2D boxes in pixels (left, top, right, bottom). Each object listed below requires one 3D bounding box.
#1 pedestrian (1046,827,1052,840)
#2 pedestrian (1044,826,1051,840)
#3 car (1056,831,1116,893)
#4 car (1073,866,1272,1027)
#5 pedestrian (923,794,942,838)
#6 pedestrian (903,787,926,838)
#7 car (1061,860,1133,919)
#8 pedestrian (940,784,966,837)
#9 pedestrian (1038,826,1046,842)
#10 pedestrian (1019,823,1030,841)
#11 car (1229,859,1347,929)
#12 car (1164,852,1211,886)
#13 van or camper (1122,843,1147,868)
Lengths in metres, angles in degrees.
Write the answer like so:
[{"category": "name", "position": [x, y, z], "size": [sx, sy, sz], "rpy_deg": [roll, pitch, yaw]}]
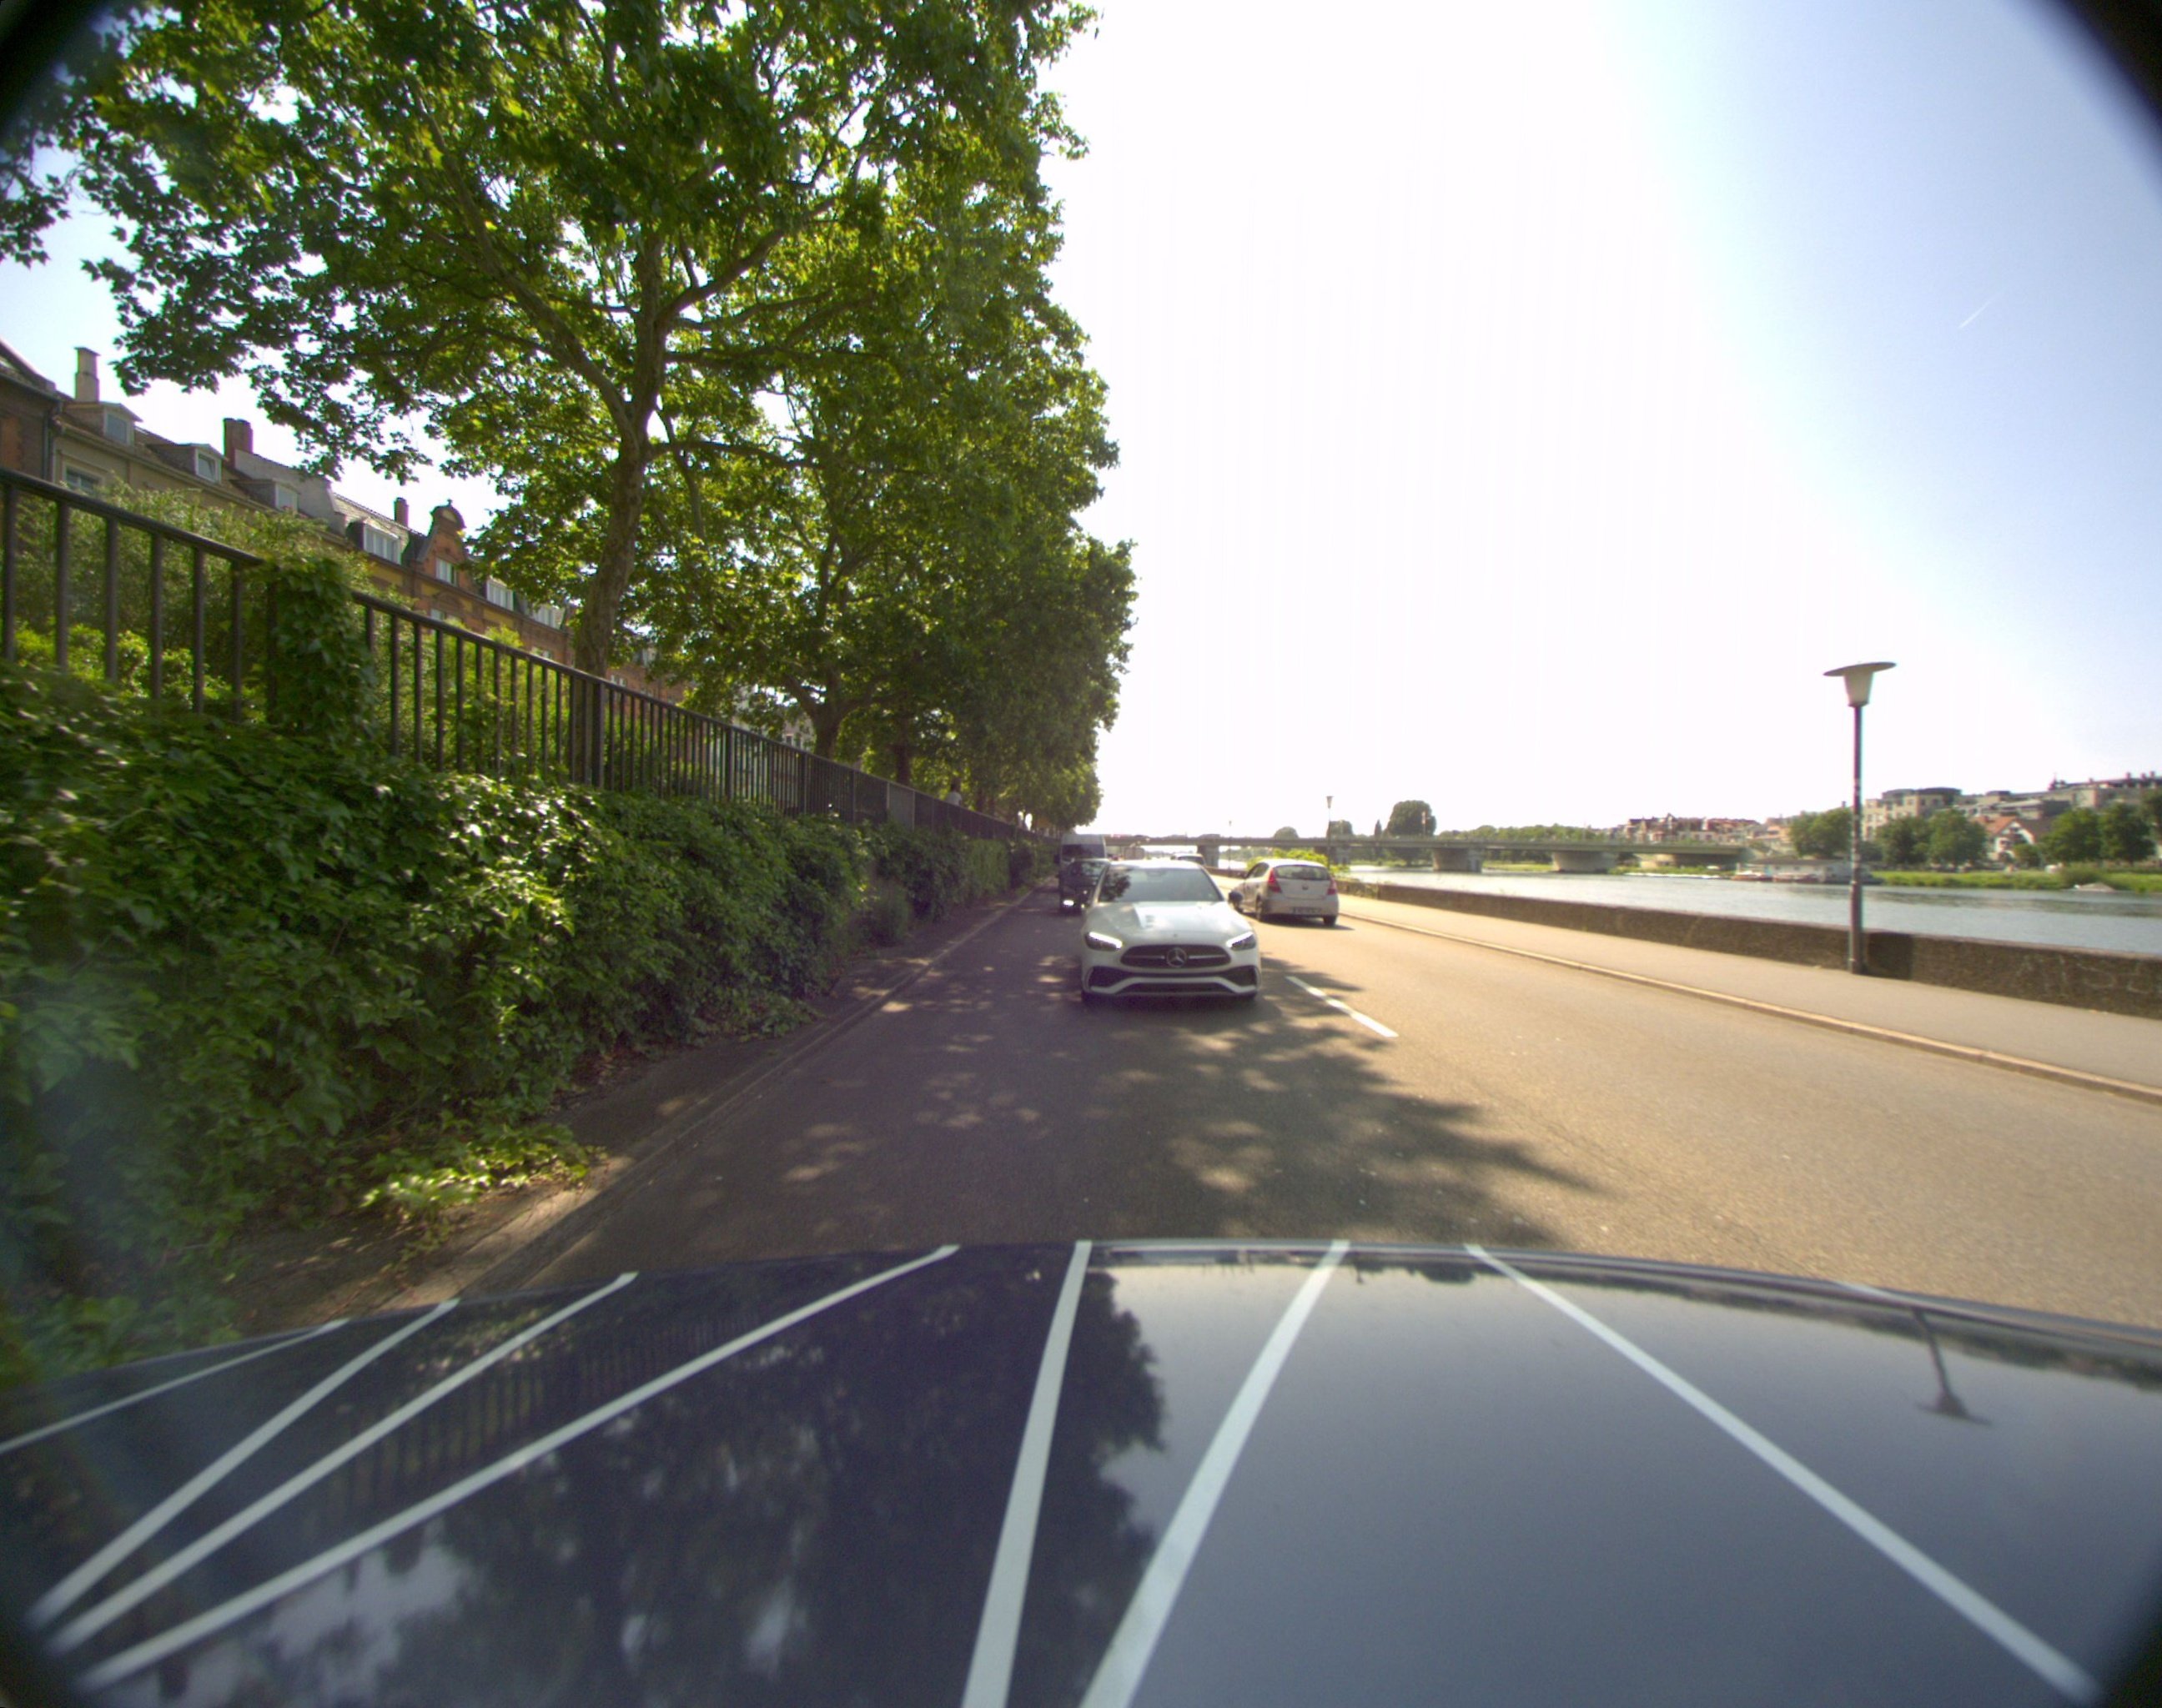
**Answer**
[{"category": "pedestrian", "position": [-3.745, -2.374, 88.082], "size": [0.666, 1.582, 0.764], "rpy_deg": [1, 1, 0]}, {"category": "pedestrian", "position": [-3.838, -2.380, 87.257], "size": [0.738, 1.582, 0.810], "rpy_deg": [1, 1, 0]}, {"category": "car", "position": [0.189, 0.301, 33.384], "size": [2.351, 2.429, 6.208], "rpy_deg": [1, 0, 0]}, {"category": "car", "position": [0.872, 0.892, 9.317], "size": [1.830, 1.411, 4.552], "rpy_deg": [0, 0, 1]}, {"category": "pedestrian", "position": [-4.889, -1.237, 25.048], "size": [0.586, 1.411, 0.589], "rpy_deg": [1, 1, -8]}, {"category": "pedestrian", "position": [-5.495, -1.369, 25.078], "size": [0.649, 1.630, 0.626], "rpy_deg": [1, 1, -8]}, {"category": "car", "position": [0.362, 0.884, 20.851], "size": [1.756, 1.385, 4.619], "rpy_deg": [0, 0, -1]}, {"category": "pedestrian", "position": [-3.966, -1.336, 23.598], "size": [0.666, 1.582, 0.650], "rpy_deg": [1, 1, 0]}, {"category": "pedestrian", "position": [-3.989, -1.976, 76.821], "size": [0.738, 1.582, 0.810], "rpy_deg": [1, 1, 0]}, {"category": "pedestrian", "position": [-4.100, -1.579, 55.111], "size": [0.713, 1.236, 0.742], "rpy_deg": [1, 1, 0]}, {"category": "car", "position": [4.928, 0.900, 18.665], "size": [1.736, 1.433, 4.045], "rpy_deg": [2, 0, 0]}, {"category": "car", "position": [5.417, 0.726, 39.196], "size": [1.736, 1.640, 4.176], "rpy_deg": [2, 0, 0]}, {"category": "van or camper", "position": [5.492, 0.127, 78.385], "size": [2.082, 2.384, 5.384], "rpy_deg": [2, 0, 0]}]
